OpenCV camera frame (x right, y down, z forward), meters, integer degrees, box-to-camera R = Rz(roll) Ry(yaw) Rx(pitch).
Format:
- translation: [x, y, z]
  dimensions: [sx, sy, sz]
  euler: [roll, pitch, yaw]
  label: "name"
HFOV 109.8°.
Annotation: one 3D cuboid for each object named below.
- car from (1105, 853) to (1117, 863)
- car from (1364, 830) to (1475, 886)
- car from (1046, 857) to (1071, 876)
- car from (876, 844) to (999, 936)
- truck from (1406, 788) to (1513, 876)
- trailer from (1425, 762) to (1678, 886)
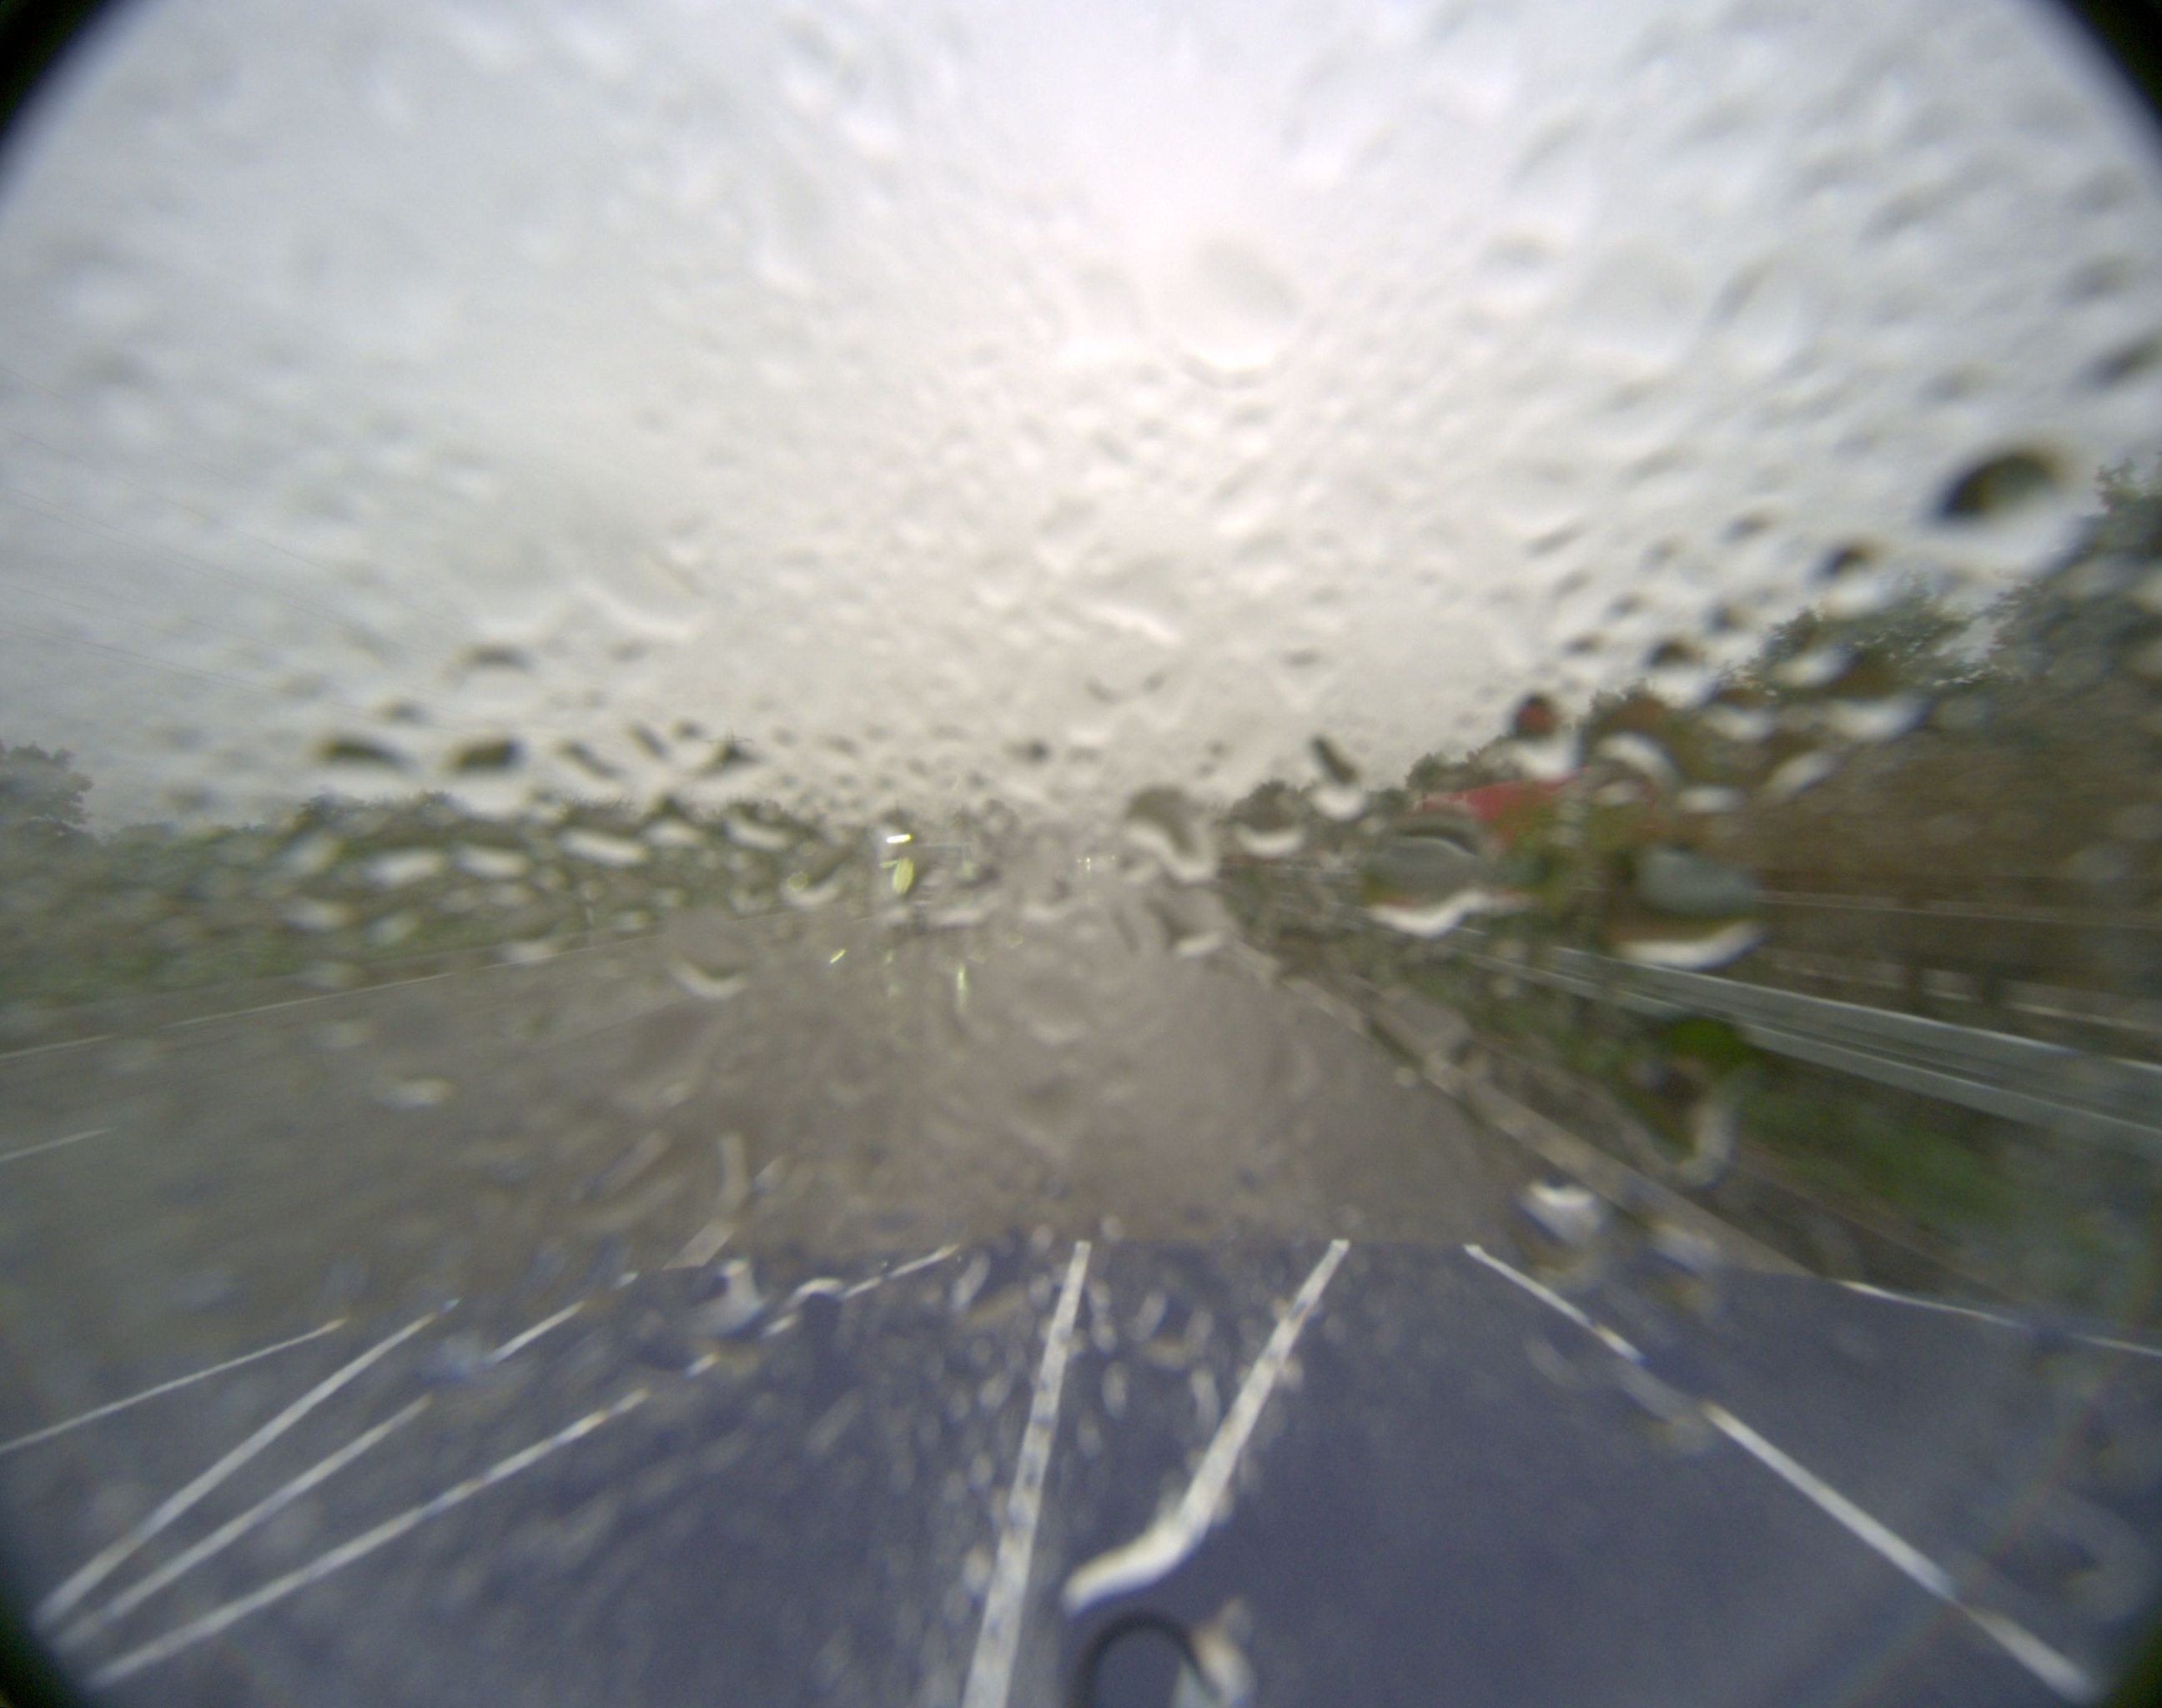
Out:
- translation: [4.929, 0.619, 124.018]
  dimensions: [1.769, 1.448, 3.960]
  euler: [-4, 0, 3]
  label: "car"
- translation: [13.263, 0.148, 30.210]
  dimensions: [1.998, 1.959, 5.393]
  euler: [-2, 0, 1]
  label: "car"
- translation: [-1.895, 1.026, 65.385]
  dimensions: [1.769, 1.448, 3.960]
  euler: [-4, 0, 3]
  label: "car"
- translation: [-3.400, 0.789, 19.041]
  dimensions: [1.892, 1.873, 5.009]
  euler: [-4, 0, 1]
  label: "car"
- translation: [17.776, -0.984, 36.010]
  dimensions: [2.591, 3.809, 4.975]
  euler: [-2, 0, 1]
  label: "truck"
- translation: [17.664, -0.970, 30.158]
  dimensions: [2.605, 3.809, 12.212]
  euler: [-2, 0, 1]
  label: "trailer"
